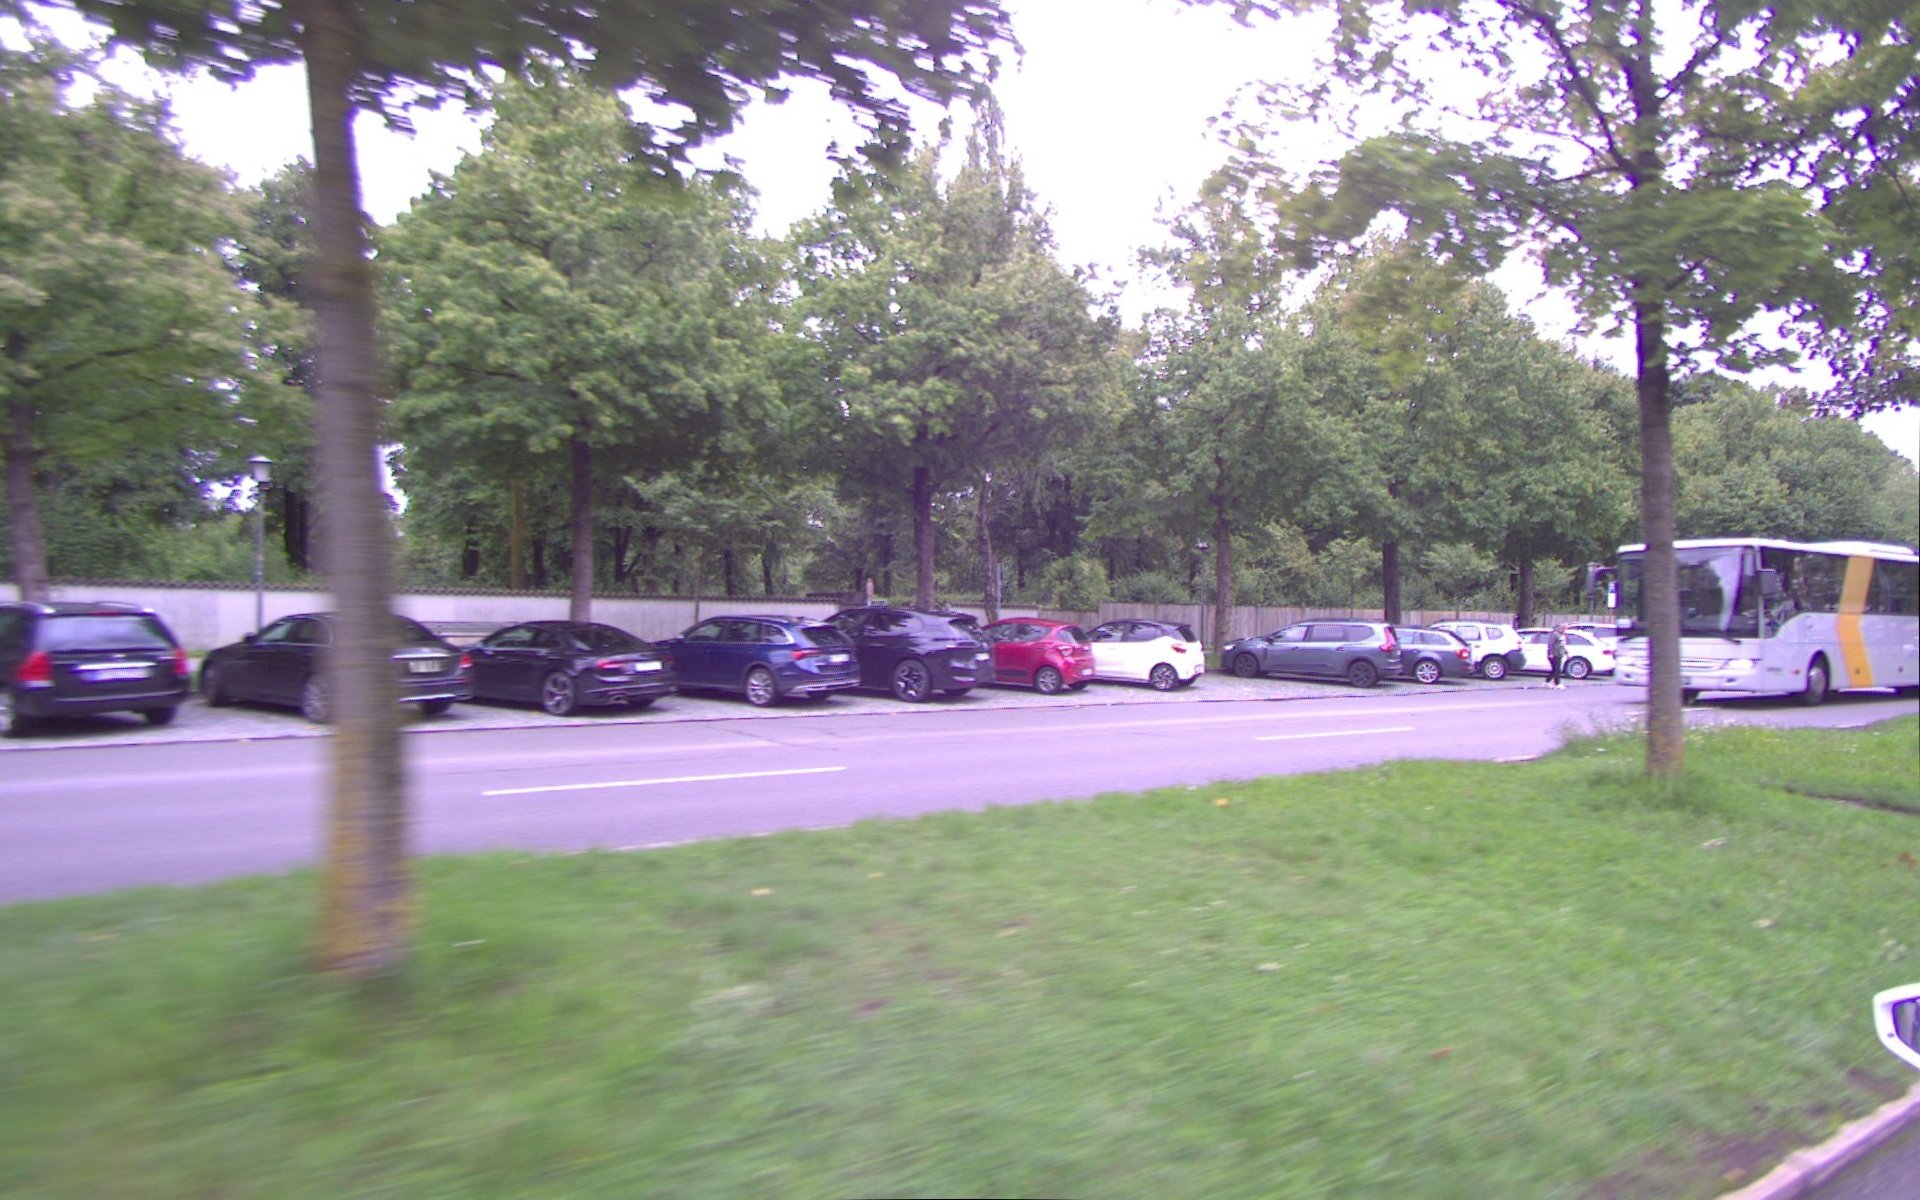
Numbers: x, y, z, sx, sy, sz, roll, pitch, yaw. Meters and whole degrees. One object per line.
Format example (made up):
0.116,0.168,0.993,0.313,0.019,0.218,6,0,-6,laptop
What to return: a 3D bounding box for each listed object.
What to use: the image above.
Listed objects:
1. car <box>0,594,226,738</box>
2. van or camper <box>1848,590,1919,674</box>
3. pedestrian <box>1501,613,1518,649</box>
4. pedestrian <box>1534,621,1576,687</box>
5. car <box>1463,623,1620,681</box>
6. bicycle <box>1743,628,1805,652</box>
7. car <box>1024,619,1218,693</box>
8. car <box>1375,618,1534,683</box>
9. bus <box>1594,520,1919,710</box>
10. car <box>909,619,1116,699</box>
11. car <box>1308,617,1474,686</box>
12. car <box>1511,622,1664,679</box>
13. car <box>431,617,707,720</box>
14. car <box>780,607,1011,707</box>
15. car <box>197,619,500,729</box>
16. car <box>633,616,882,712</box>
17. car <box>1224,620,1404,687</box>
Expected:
-11.831,0.753,12.985,4.028,1.618,1.919,0,-1,22,car
35.681,1.163,36.934,7.404,2.871,2.299,1,-1,-30,van or camper
25.209,1.411,46.070,0.668,1.633,0.691,1,0,30,pedestrian
15.232,1.375,25.733,0.674,1.633,0.719,1,-1,-37,pedestrian
17.654,1.536,30.734,4.032,1.606,1.917,0,-1,27,car
43.601,2.137,53.864,0.714,1.159,2.490,1,1,-27,bicycle
3.723,1.230,23.290,4.035,1.521,1.916,0,-1,30,car
14.351,1.409,29.287,4.032,1.718,1.917,0,-1,27,car
18.728,0.417,22.165,11.868,3.422,2.726,1,-2,-30,bus
1.111,1.201,21.645,4.035,1.521,1.916,0,-1,30,car
11.778,1.356,27.483,4.032,1.718,1.917,0,-1,27,car
20.090,1.562,32.375,4.032,1.674,1.917,0,-1,27,car
-6.335,1.015,16.250,4.121,1.428,1.917,0,-1,27,car
-1.245,1.020,19.345,4.032,1.702,1.917,0,-1,27,car
-8.945,0.982,14.677,4.125,1.340,1.917,0,-1,27,car
-3.621,1.065,17.897,4.032,1.489,1.917,0,-1,27,car
9.173,1.322,26.080,4.113,1.563,1.916,0,-1,30,car
